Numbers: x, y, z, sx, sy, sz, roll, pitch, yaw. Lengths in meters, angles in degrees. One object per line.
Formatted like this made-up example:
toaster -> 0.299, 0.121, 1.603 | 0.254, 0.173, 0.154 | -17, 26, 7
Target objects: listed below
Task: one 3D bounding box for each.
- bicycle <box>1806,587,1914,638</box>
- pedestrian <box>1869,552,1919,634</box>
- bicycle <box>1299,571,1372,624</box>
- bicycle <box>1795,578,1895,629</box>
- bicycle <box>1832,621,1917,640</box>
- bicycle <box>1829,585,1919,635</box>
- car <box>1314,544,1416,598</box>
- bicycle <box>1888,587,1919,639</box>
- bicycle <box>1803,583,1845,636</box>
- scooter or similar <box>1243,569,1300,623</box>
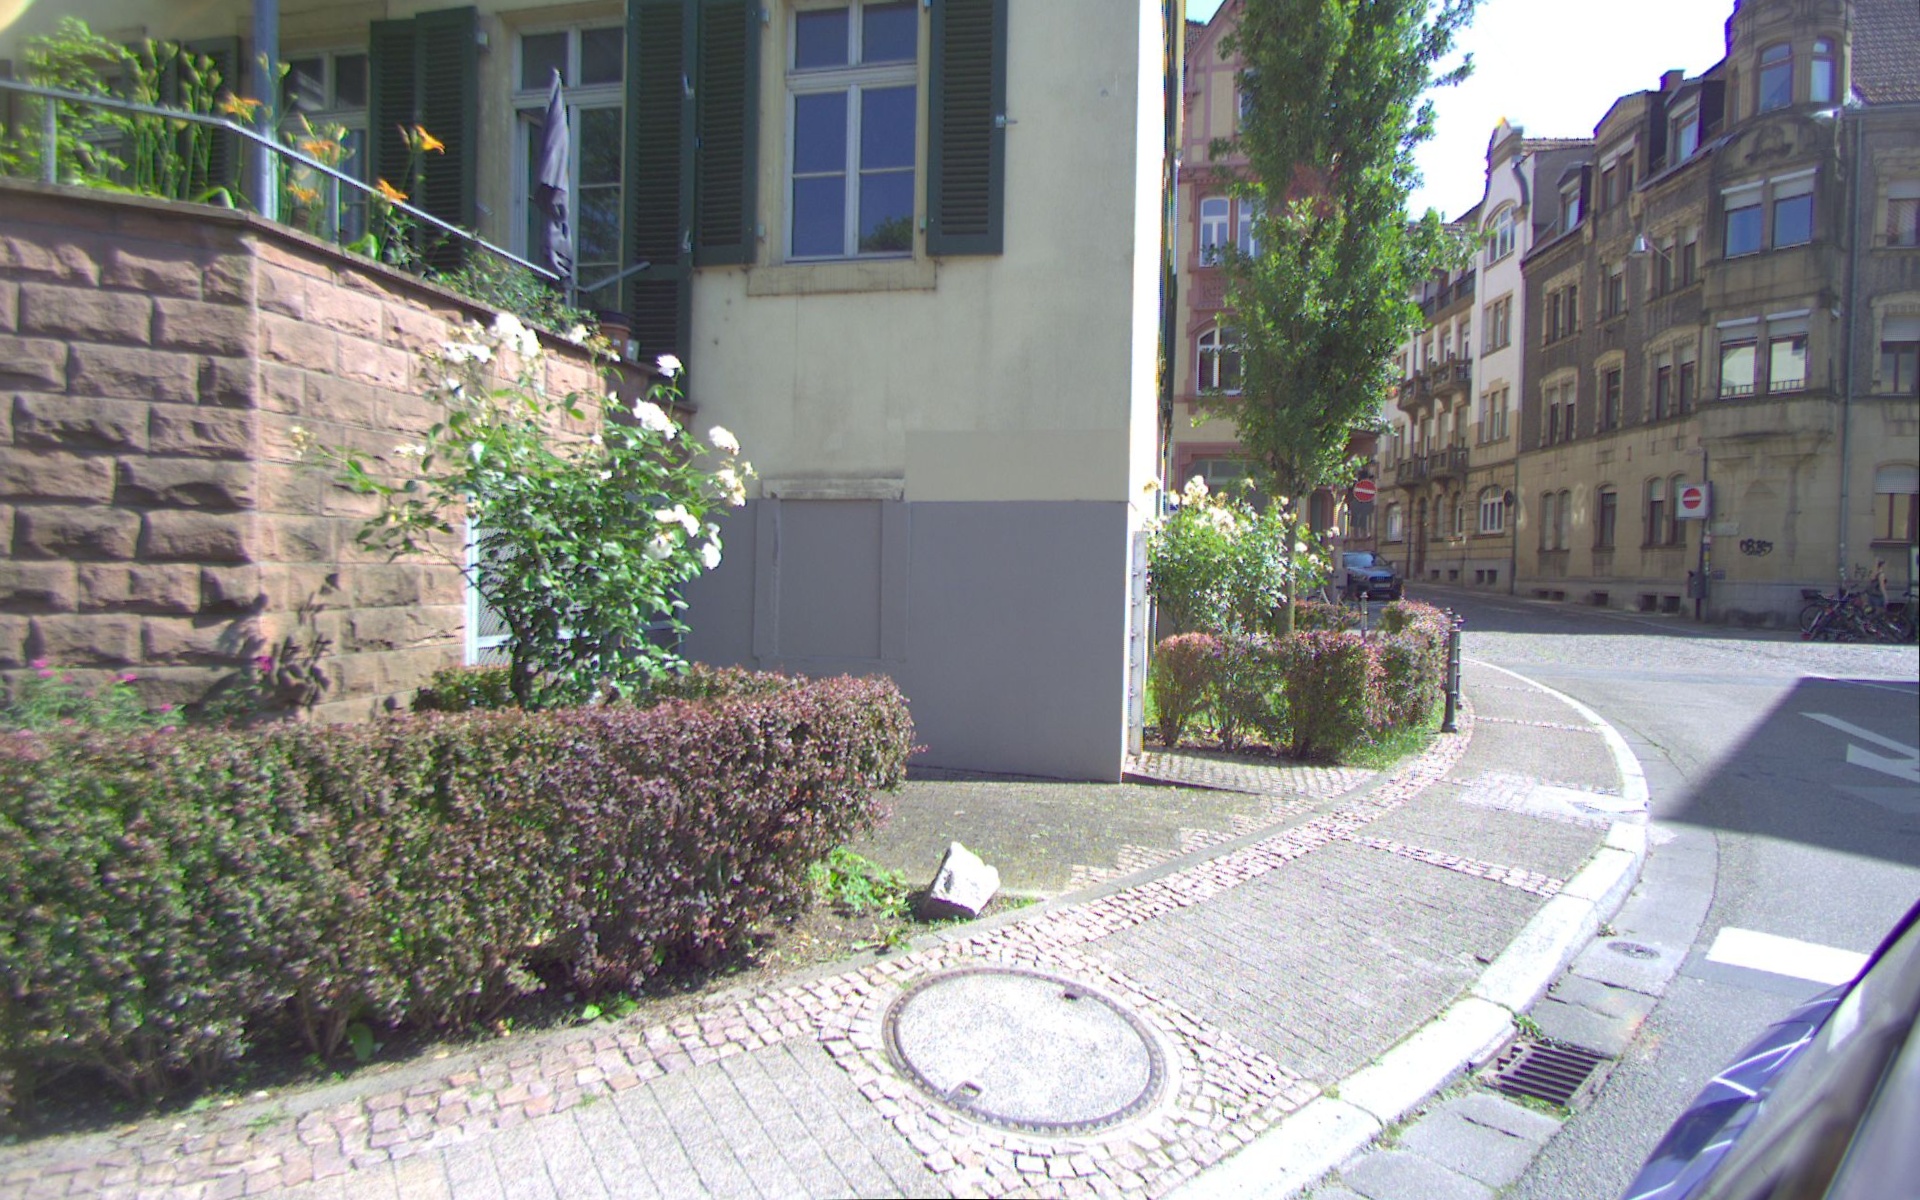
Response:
bicycle -> 19.486, 0.259, 21.960 | 0.285, 1.080, 1.642 | -42, 1, 3
pedestrian -> 21.179, -0.174, 22.643 | 0.966, 1.778, 0.622 | 1, 5, 12
bicycle -> 8.977, -0.072, 24.249 | 0.495, 1.160, 1.798 | 1, 3, -23
bicycle -> 20.656, 0.075, 23.647 | 1.617, 1.098, 0.495 | 2, 6, 13
bicycle -> 19.458, 0.650, 21.574 | 1.068, 0.291, 1.114 | 2, 3, 27
bicycle -> 19.974, 0.199, 21.923 | 0.285, 1.080, 1.642 | -42, 1, 3
car -> 13.613, -1.038, 34.261 | 1.828, 1.601, 4.261 | -1, 4, 2
bicycle -> 20.421, 0.275, 21.107 | 0.280, 1.099, 1.646 | 3, -1, -15
bicycle -> 18.871, 0.190, 22.121 | 0.283, 1.099, 1.628 | -2, 1, 26
scooter or similar -> 7.324, -0.103, 23.831 | 1.168, 1.250, 0.442 | 1, 2, -1
